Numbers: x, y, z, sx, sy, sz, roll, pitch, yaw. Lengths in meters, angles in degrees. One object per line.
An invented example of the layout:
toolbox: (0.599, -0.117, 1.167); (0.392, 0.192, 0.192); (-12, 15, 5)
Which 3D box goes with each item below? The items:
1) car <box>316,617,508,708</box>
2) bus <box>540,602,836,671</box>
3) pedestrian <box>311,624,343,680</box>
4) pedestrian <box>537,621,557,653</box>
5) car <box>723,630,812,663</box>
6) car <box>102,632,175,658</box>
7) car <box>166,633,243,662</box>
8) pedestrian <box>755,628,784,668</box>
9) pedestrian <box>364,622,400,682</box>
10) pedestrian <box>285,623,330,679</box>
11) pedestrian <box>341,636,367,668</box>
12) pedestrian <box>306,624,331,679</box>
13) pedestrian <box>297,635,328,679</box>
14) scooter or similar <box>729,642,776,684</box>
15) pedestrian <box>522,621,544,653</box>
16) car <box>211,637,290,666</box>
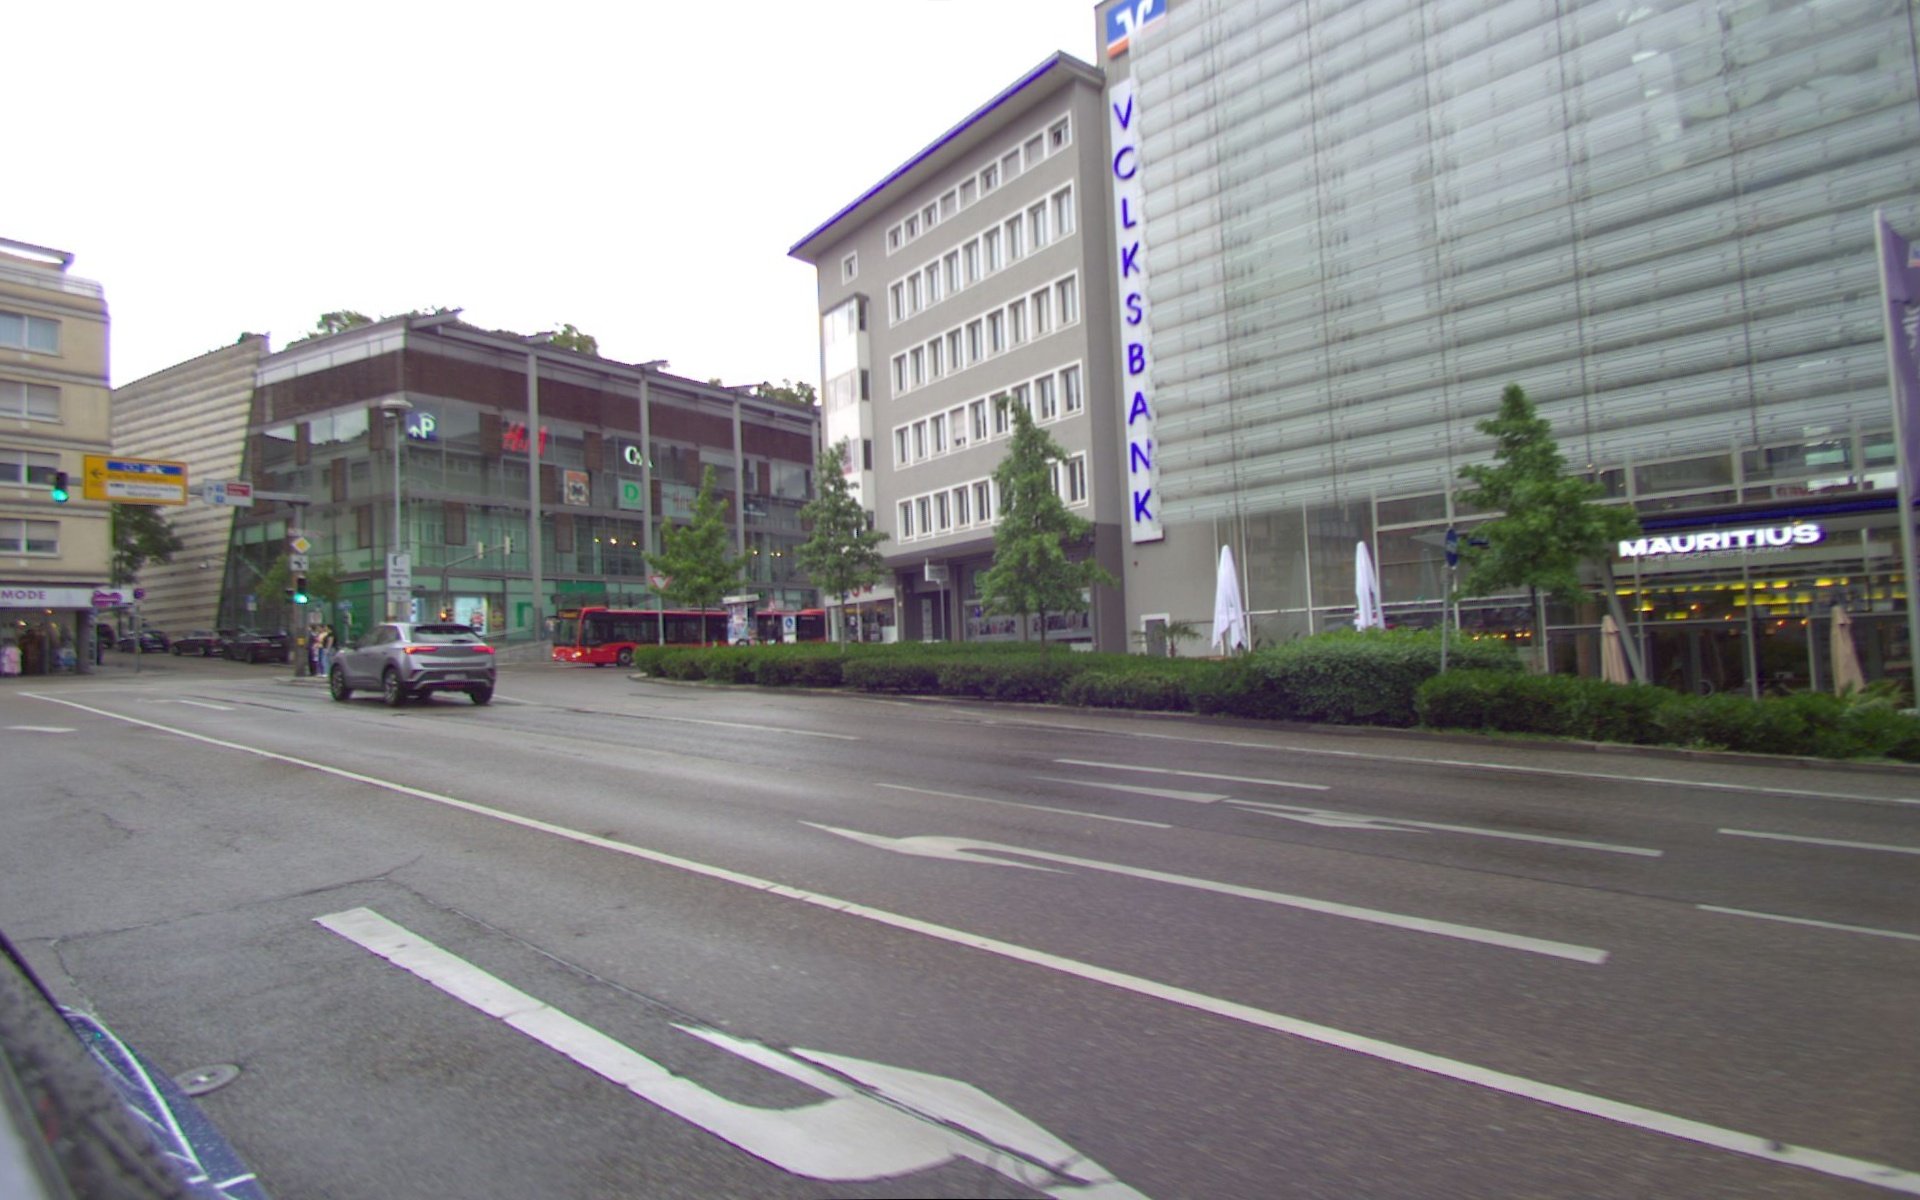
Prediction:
car: (-10.543, 1.178, 19.372); (4.090, 1.564, 1.822); (-2, -4, 40)
bus: (-14.441, 2.139, 57.166); (2.925, 3.346, 18.245); (-3, -4, 37)
pedestrian: (-19.352, 1.582, 30.932); (0.784, 1.702, 0.629); (-3, -3, 44)
pedestrian: (-26.358, 2.383, 64.579); (0.876, 1.996, 0.840); (-3, -4, 35)
car: (-12.813, 3.103, 67.808); (2.446, 2.091, 5.839); (-2, -3, 34)
car: (-51.216, 2.781, 63.090); (4.357, 1.558, 1.882); (-1, 0, 26)
car: (-44.740, 2.791, 59.905); (4.357, 1.558, 1.882); (-1, 0, 26)
pedestrian: (-8.683, 2.183, 46.147); (1.021, 1.789, 0.791); (-1, -3, 30)
pedestrian: (-17.815, 1.598, 31.197); (0.829, 1.792, 0.611); (-2, -3, 30)
pedestrian: (-21.180, 1.651, 32.852); (1.009, 1.801, 0.845); (-2, -3, 30)
pedestrian: (-34.093, 2.919, 56.936); (1.038, 1.775, 0.692); (-2, -4, 13)
pedestrian: (-19.875, 1.605, 31.346); (0.571, 1.681, 0.494); (-4, -4, 42)
pedestrian: (-20.295, 1.784, 31.718); (0.629, 1.350, 0.582); (-2, -3, 30)
scooter or similar: (-7.255, 2.195, 35.312); (0.916, 1.265, 1.505); (-10, 3, -34)
pedestrian: (-26.926, 2.347, 63.817); (0.881, 1.996, 0.963); (-3, -4, 35)
car: (-39.980, 2.859, 57.035); (4.274, 1.558, 1.789); (-1, -2, 26)
